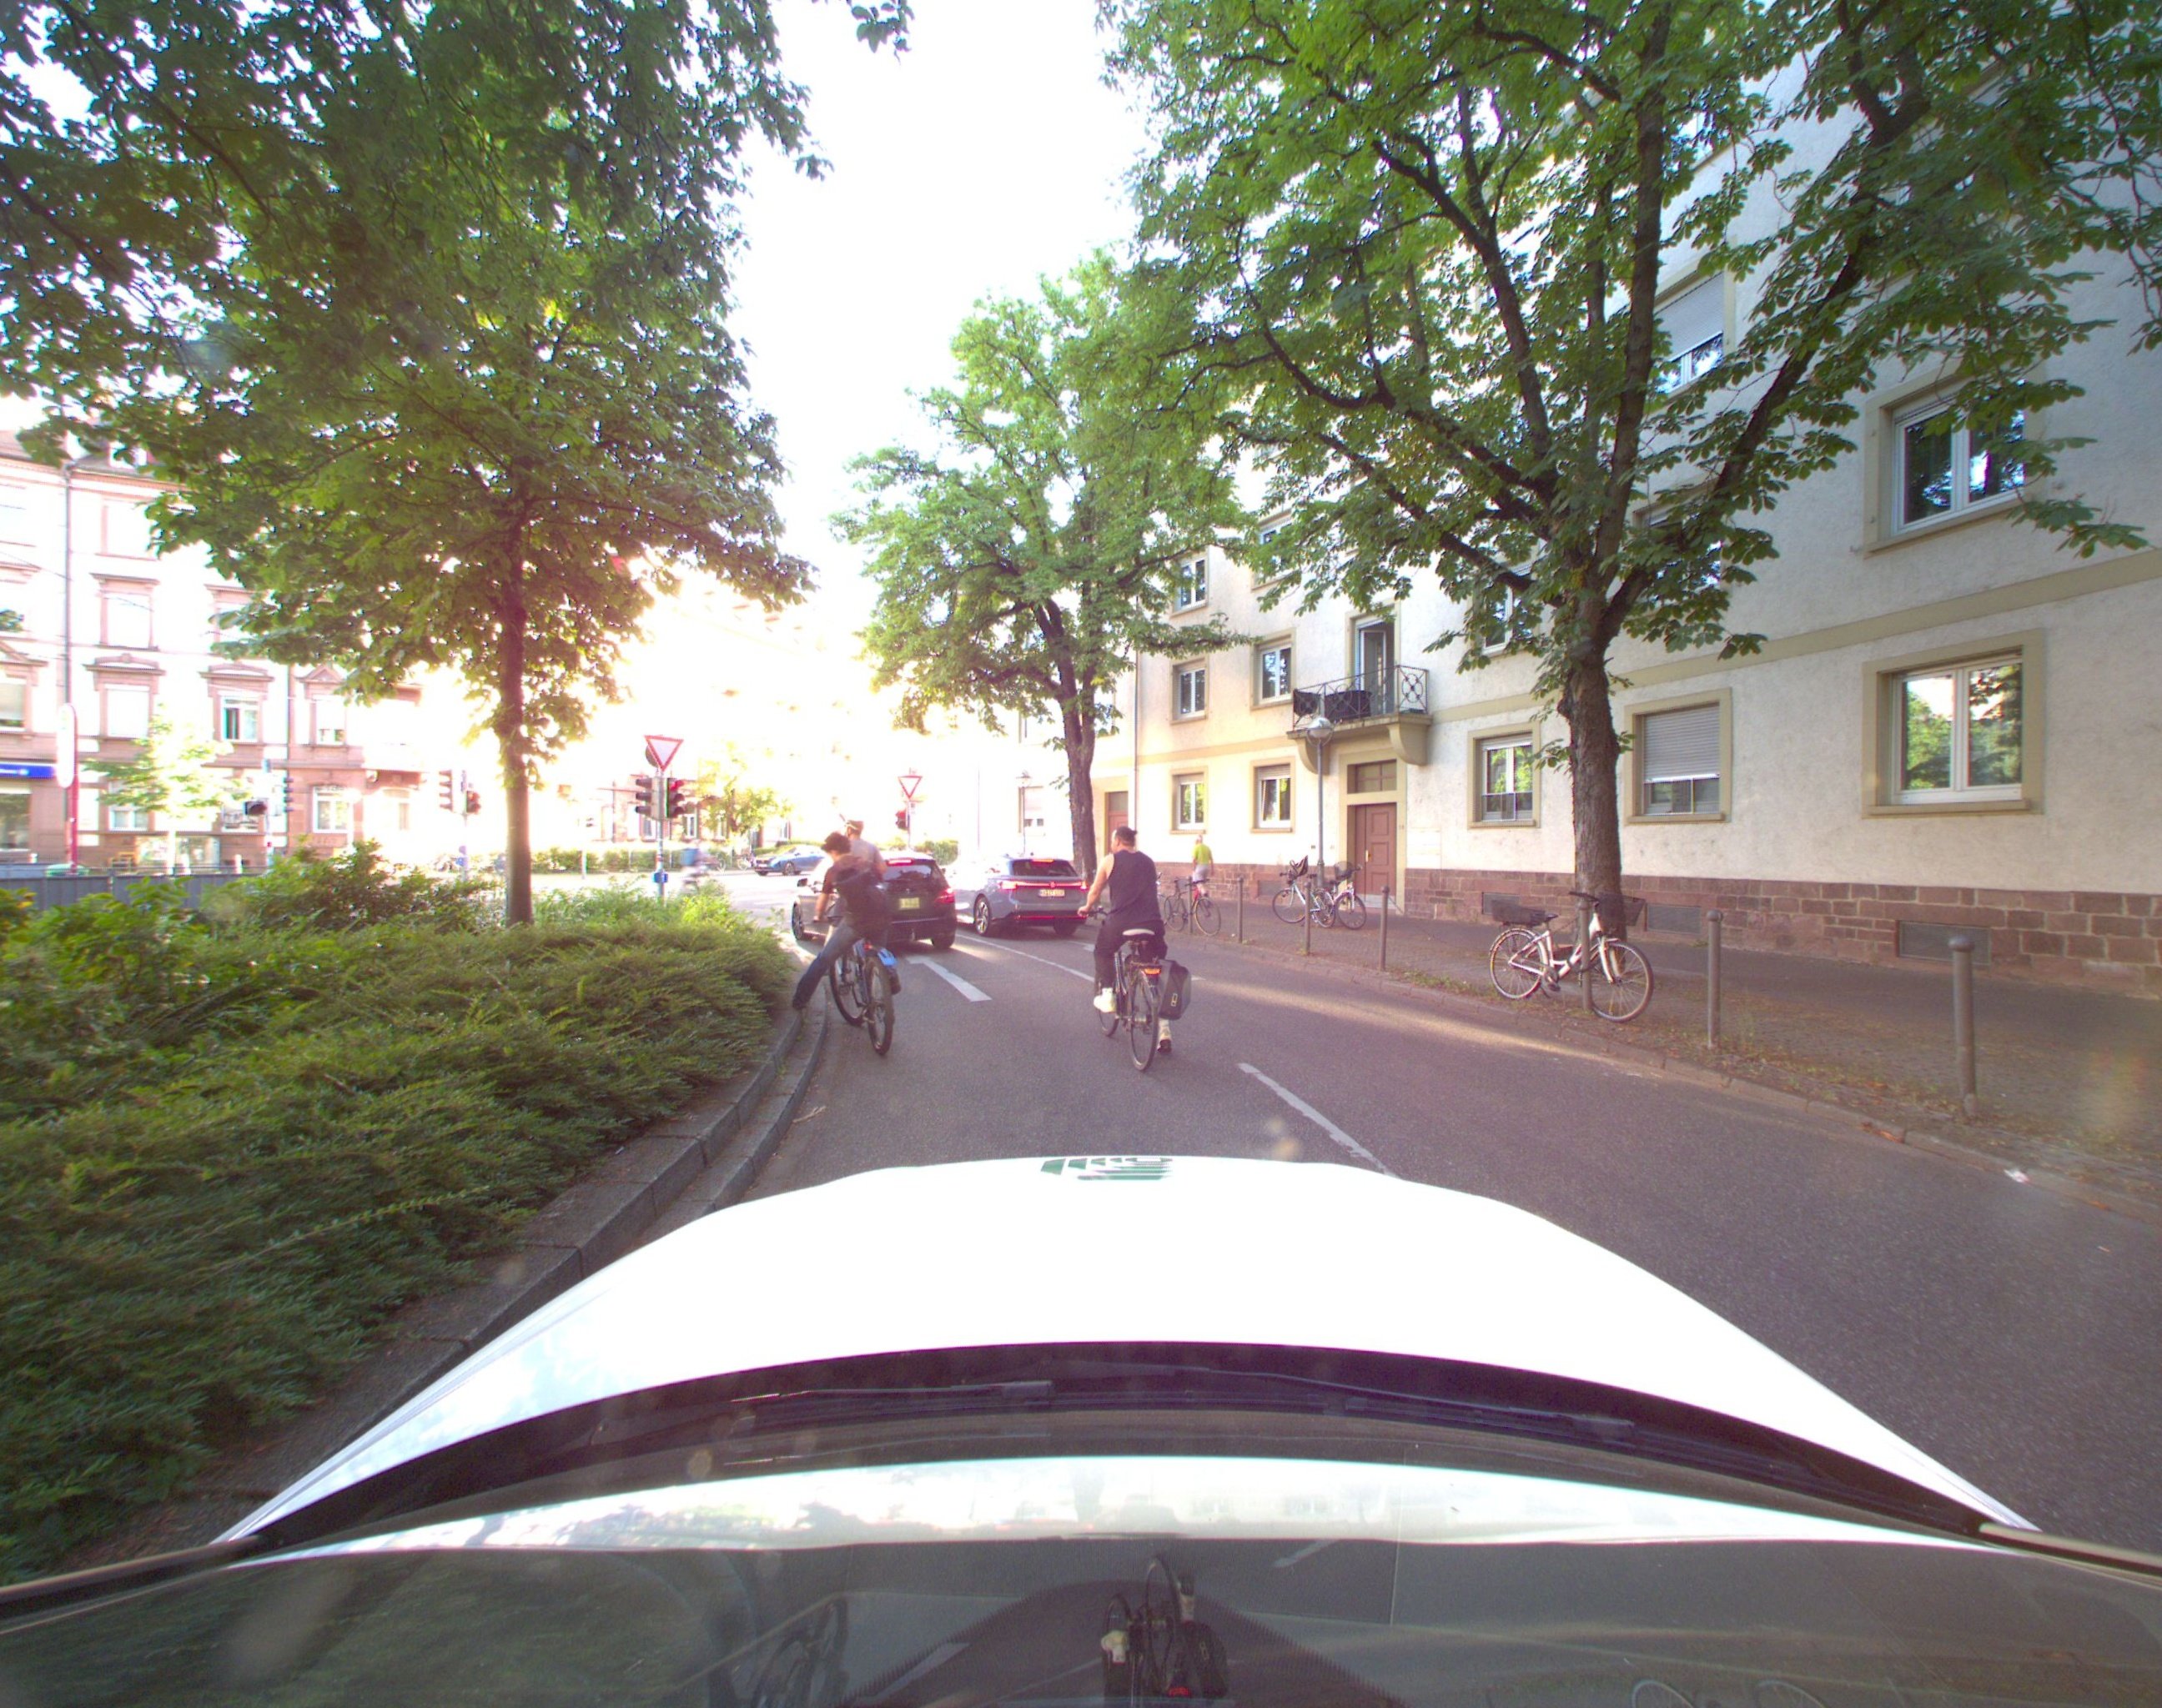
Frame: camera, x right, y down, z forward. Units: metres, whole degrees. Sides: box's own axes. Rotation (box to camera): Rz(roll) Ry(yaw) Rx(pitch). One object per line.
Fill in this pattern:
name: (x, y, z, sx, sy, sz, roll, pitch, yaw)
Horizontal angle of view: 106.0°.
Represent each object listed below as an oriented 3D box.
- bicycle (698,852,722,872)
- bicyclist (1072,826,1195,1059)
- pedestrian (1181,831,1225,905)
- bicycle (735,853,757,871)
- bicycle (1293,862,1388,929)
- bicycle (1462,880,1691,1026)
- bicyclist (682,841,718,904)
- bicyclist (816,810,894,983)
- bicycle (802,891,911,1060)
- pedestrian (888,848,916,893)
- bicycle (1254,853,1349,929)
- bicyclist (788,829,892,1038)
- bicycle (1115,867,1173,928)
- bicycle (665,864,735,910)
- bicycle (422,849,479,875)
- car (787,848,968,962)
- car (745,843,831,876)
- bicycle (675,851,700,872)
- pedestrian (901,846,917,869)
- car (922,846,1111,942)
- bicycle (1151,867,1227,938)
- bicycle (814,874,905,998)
bicycle: (-20.834, 0.424, 45.738, 0.438, 1.107, 1.241, 1, 1, 25)
bicyclist: (0.380, 0.623, 6.346, 0.687, 1.656, 0.985, -1, 0, -13)
pedestrian: (2.945, 0.322, 19.693, 0.646, 1.727, 0.881, -3, 2, -25)
bicycle: (-19.806, 0.440, 48.150, 0.438, 1.038, 1.240, 1, 1, 24)
bicycle: (4.709, 0.718, 14.947, 0.669, 1.107, 1.955, 1, 0, -17)
bicycle: (4.515, 0.833, 7.614, 0.514, 1.095, 1.962, -2, 1, -18)
bicyclist: (-9.879, 0.464, 21.109, 0.525, 1.598, 0.677, 0, 0, 13)
bicyclist: (-2.679, 0.472, 9.598, 0.797, 1.913, 0.938, 1, 0, -21)
bicycle: (-1.820, 0.918, 6.857, 0.717, 1.107, 1.959, 1, 0, -11)
pedestrian: (-6.802, 0.615, 30.925, 0.904, 1.635, 0.721, 2, 1, -19)
bicycle: (3.997, 0.626, 14.946, 0.719, 1.277, 1.954, -1, 1, -18)
bicyclist: (-1.935, 0.595, 6.651, 0.707, 1.573, 0.953, 1, 0, -11)
bicycle: (1.225, 0.826, 16.126, 0.482, 1.063, 1.625, -2, 2, -20)
bicycle: (-9.864, 0.825, 21.163, 0.530, 1.107, 1.974, 0, 0, 13)
bicycle: (-28.154, 0.373, 36.382, 1.975, 1.107, 0.438, 2, -1, -38)
car: (-3.474, 0.702, 13.396, 1.802, 1.542, 3.821, -2, 1, -32)
car: (-15.645, 0.254, 43.748, 1.926, 1.650, 4.432, 0, 0, 19)
bicycle: (-21.474, 0.383, 44.472, 0.438, 1.107, 1.241, 1, 1, 25)
pedestrian: (-12.686, 0.232, 60.044, 0.703, 1.664, 0.904, 4, 2, 36)
car: (-1.423, 0.685, 15.979, 1.982, 1.585, 4.433, 2, -1, -29)
bicycle: (1.893, 0.827, 14.535, 0.528, 1.107, 1.728, -3, 2, -22)
bicycle: (-2.621, 0.863, 9.444, 0.813, 1.184, 2.211, 0, 0, -21)
